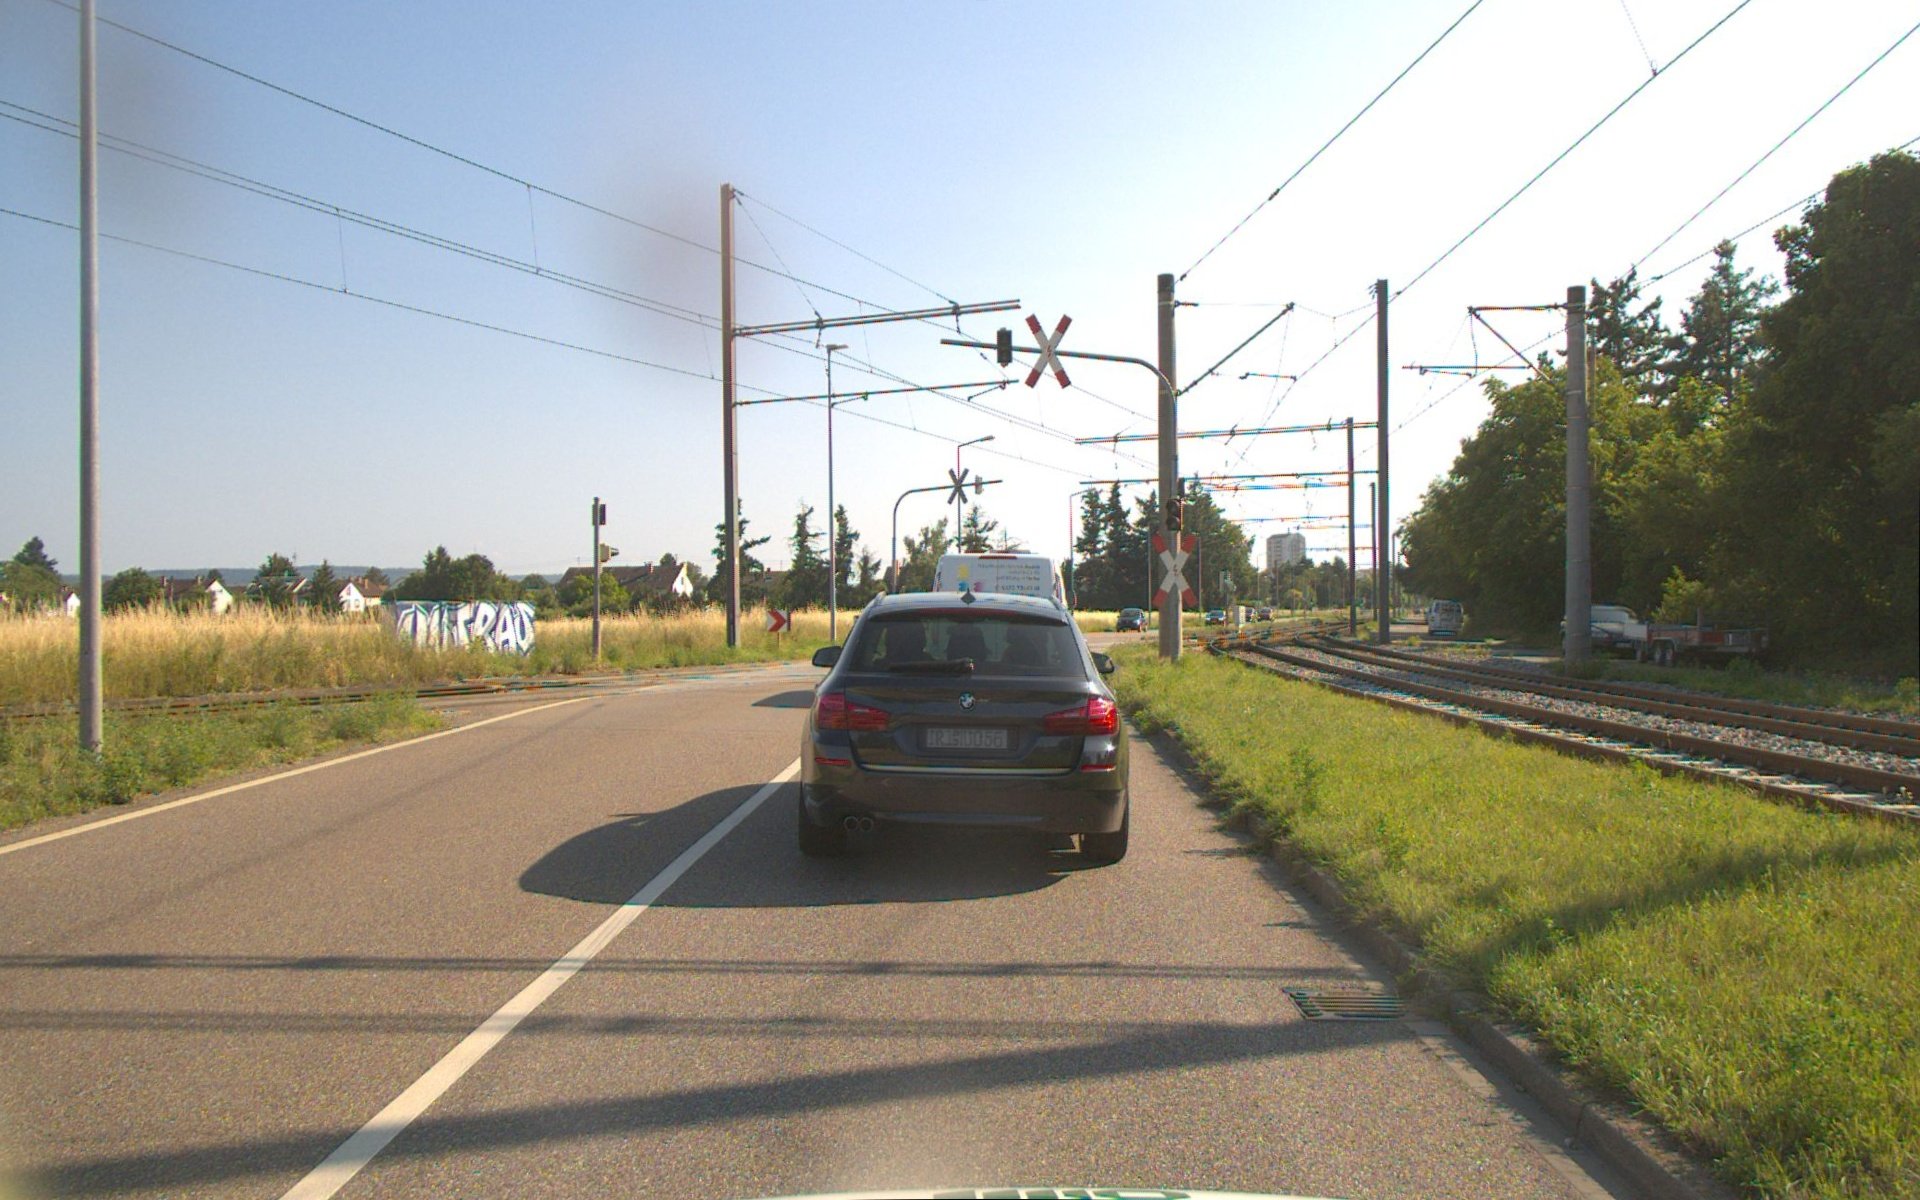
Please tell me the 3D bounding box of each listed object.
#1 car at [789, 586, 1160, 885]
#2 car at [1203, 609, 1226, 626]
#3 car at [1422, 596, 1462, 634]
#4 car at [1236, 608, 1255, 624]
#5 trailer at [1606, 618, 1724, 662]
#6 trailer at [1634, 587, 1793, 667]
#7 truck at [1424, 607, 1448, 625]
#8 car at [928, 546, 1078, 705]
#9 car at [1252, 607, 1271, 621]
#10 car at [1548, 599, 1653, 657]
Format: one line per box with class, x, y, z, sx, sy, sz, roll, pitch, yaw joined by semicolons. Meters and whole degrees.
car;0.037;0.656;10.554;1.831;1.478;4.743;0;0;-1
car;23.575;1.624;153.141;1.657;1.465;4.286;1;0;15
car;27.395;0.844;94.088;1.951;2.039;5.070;2;0;15
car;31.105;1.688;180.287;1.670;1.694;4.593;0;0;15
trailer;17.544;0.978;41.327;1.695;0.956;3.730;3;0;7
trailer;16.899;0.580;37.330;1.984;1.624;4.262;2;0;6
truck;47.973;1.621;166.798;2.157;1.851;5.933;0;-1;15
car;0.732;0.326;23.790;1.818;2.023;5.111;0;0;5
car;36.163;1.674;198.285;1.676;1.576;3.930;0;0;17
car;17.777;0.734;46.100;1.662;1.482;4.884;2;0;9
